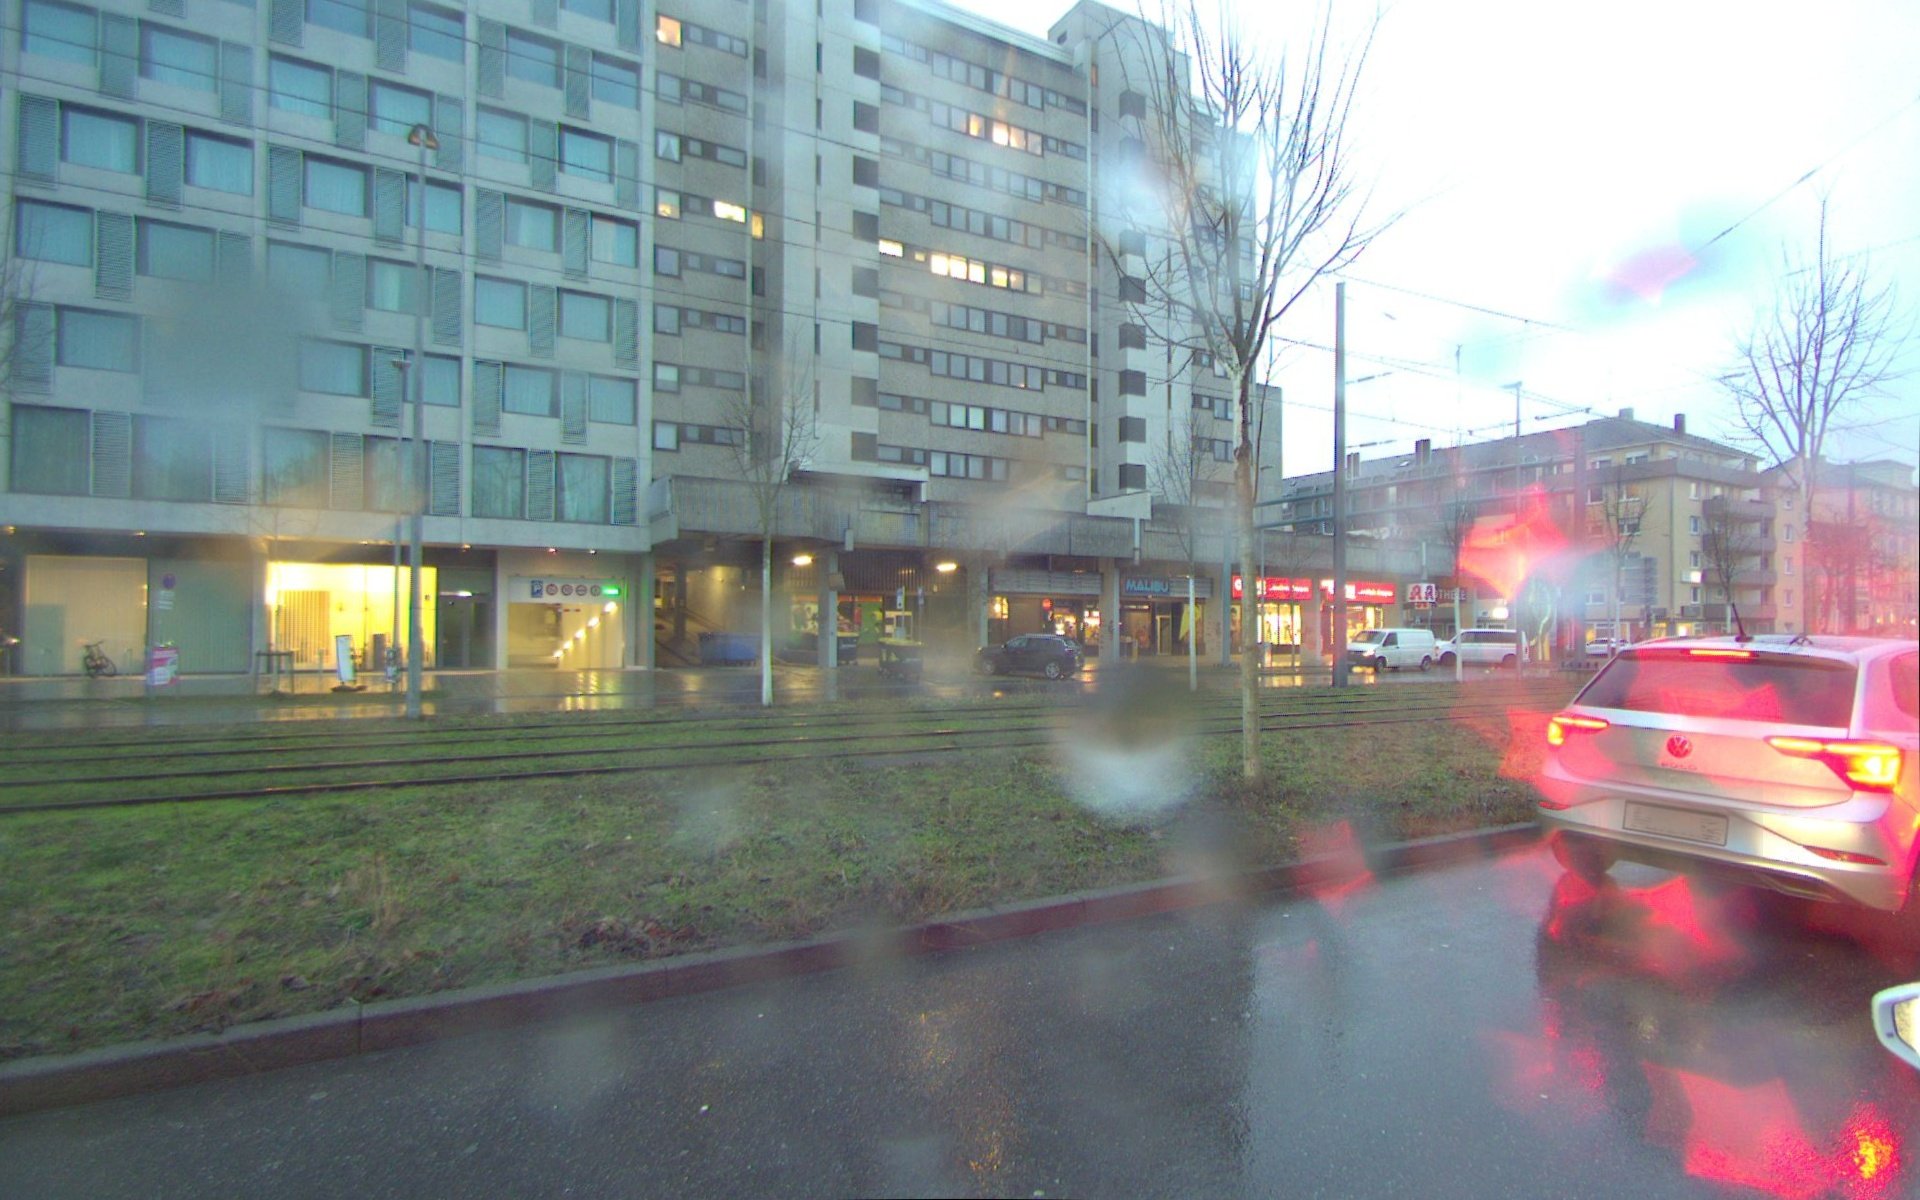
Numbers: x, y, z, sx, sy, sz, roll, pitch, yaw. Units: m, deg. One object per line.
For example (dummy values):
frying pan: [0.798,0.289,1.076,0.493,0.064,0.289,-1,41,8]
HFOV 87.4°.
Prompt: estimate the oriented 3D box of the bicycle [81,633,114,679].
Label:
bicycle: [-25.163,1.609,29.333,0.460,1.255,1.527,2,0,-31]

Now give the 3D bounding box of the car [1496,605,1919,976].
car: [5.166,0.844,5.967,3.953,1.554,1.685,1,-1,-30]

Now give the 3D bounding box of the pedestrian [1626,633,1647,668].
pedestrian: [40.077,2.951,59.477,0.990,2.040,0.959,-1,-2,33]

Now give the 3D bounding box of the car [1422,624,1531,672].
car: [27.140,2.513,52.920,4.734,2.274,2.001,2,0,15]

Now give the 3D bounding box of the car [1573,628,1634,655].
car: [51.320,3.282,80.129,1.826,1.968,3.720,2,0,-37]

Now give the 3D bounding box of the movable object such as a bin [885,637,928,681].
movable object such as a bin: [-1.877,2.032,35.000,1.023,1.445,1.061,2,0,-41]

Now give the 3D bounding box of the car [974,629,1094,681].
car: [2.822,2.061,38.341,4.066,1.715,1.982,2,0,28]

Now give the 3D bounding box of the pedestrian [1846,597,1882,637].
pedestrian: [46.170,0.872,51.319,1.253,2.040,1.004,-1,-2,36]

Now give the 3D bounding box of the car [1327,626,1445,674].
car: [20.046,2.348,47.223,5.491,2.073,1.987,2,0,-26]

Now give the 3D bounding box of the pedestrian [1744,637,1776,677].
pedestrian: [41.996,2.981,52.734,1.050,2.040,1.007,0,-2,23]
